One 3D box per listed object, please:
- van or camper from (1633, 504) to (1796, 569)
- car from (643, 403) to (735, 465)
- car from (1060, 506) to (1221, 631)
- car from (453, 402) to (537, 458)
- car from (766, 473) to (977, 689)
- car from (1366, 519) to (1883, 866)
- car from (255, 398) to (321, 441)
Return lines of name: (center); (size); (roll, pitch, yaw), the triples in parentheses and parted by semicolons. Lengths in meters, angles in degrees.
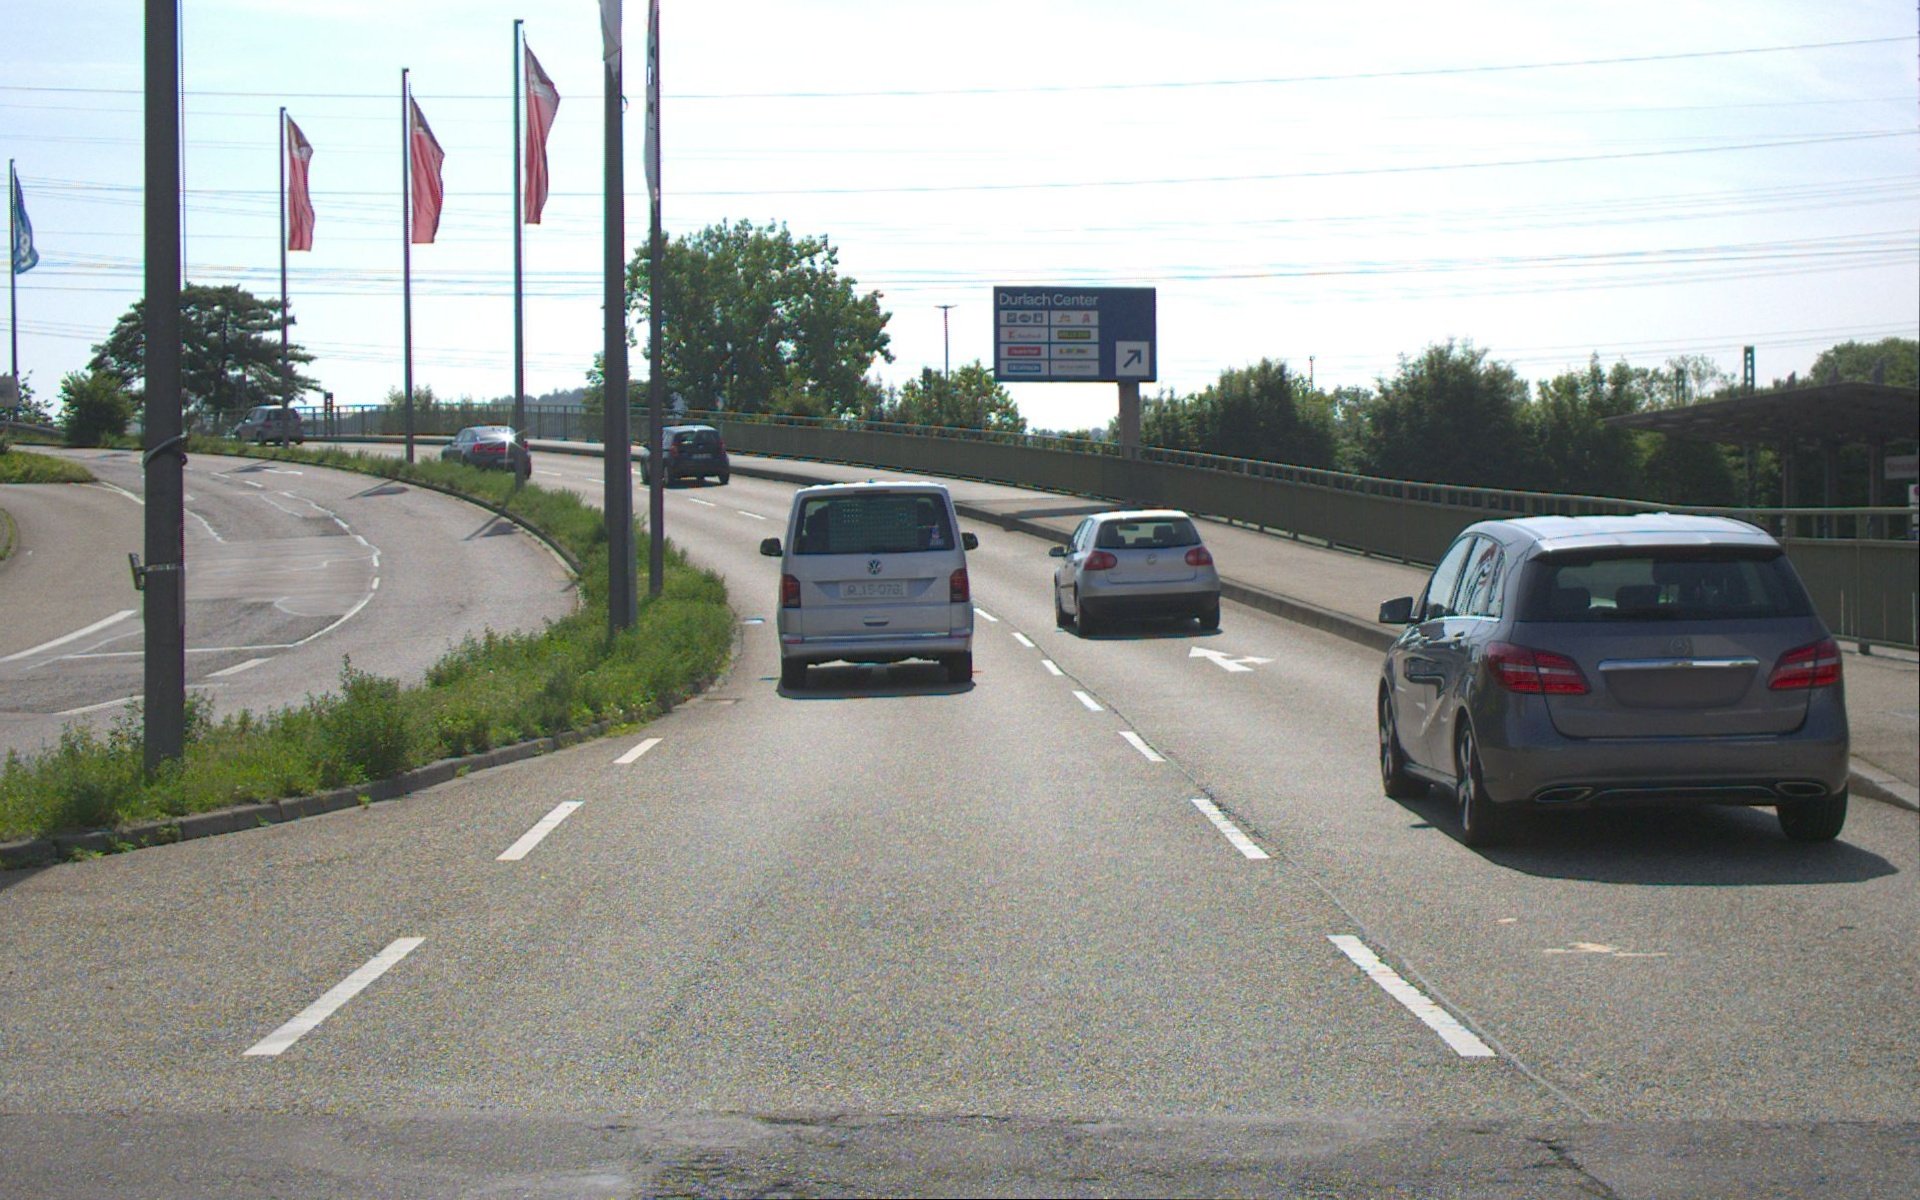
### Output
van or camper: (27.249, -2.277, 124.100); (5.418, 2.171, 2.106); (2, 0, -20)
car: (-7.198, -4.416, 90.946); (1.530, 1.474, 3.598); (1, 4, -19)
car: (2.212, -0.428, 42.860); (1.666, 1.409, 3.683); (-2, 2, -2)
car: (-13.228, -4.807, 97.684); (1.530, 1.475, 3.248); (0, 1, -23)
car: (-0.817, -0.252, 34.152); (1.917, 1.968, 4.298); (-1, 2, 1)
car: (3.202, 0.366, 17.382); (1.773, 1.533, 4.138); (0, 1, -1)
car: (-25.672, -6.882, 131.314); (1.531, 1.475, 3.426); (0, 1, -28)
